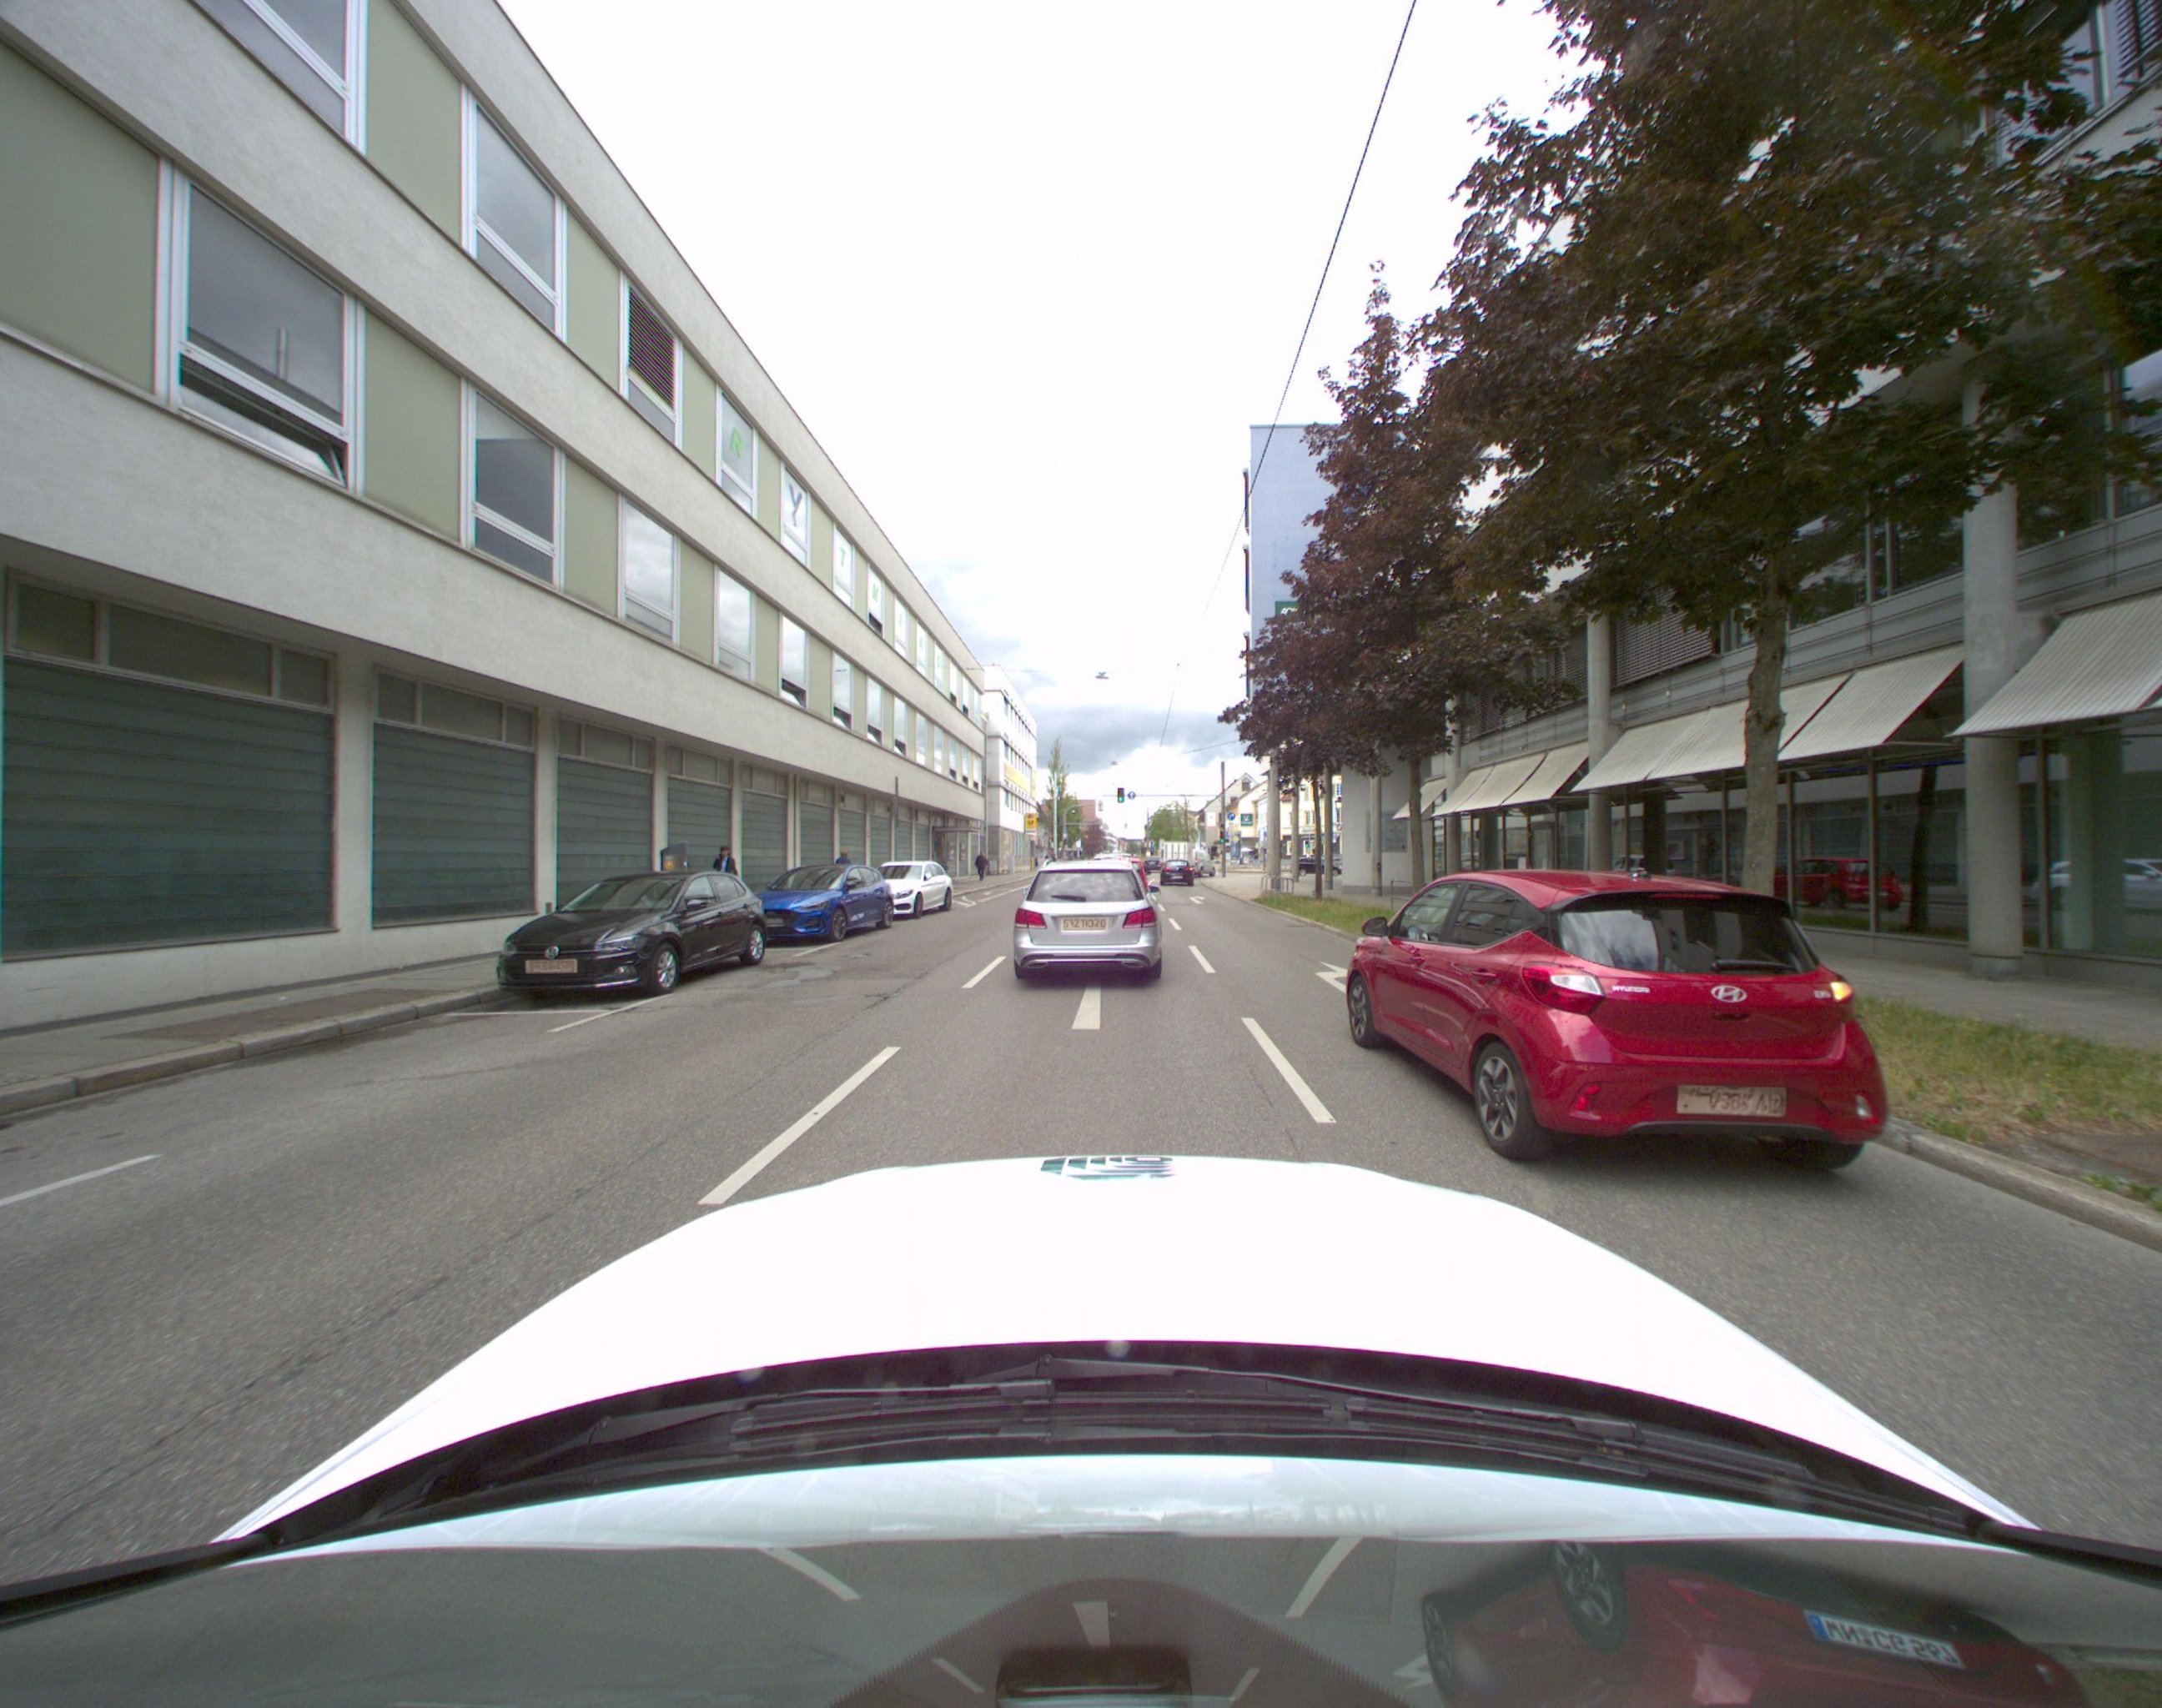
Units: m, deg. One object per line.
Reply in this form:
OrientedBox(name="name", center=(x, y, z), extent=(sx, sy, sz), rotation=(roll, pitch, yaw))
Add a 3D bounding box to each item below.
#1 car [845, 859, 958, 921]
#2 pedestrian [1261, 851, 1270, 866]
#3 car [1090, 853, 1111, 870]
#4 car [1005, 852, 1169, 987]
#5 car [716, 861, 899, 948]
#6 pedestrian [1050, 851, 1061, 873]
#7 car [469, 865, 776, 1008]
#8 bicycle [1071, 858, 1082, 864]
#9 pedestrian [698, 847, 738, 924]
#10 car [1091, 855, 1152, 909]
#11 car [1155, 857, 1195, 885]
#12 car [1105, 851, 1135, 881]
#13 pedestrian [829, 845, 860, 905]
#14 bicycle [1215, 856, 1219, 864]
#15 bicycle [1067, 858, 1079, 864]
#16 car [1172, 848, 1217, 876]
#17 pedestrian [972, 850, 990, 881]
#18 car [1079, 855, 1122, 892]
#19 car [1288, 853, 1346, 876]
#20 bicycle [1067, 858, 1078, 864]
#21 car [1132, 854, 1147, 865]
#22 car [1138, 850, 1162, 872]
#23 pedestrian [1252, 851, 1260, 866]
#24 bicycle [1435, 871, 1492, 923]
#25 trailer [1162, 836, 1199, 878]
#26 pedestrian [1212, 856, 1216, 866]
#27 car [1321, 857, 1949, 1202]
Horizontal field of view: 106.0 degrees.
OrientedBox(name="car", center=(-4.743, 0.897, 22.224), extent=(1.662, 1.434, 4.559), rotation=(-2, 0, 5))
OrientedBox(name="pedestrian", center=(20.810, 0.500, 91.778), extent=(0.789, 1.718, 0.645), rotation=(1, 0, -21))
OrientedBox(name="car", center=(1.955, 0.727, 80.689), extent=(1.768, 1.632, 4.773), rotation=(-1, 0, 4))
OrientedBox(name="car", center=(0.115, 0.742, 11.249), extent=(1.839, 1.508, 4.172), rotation=(-1, 0, 1))
OrientedBox(name="car", center=(-5.260, 0.902, 16.331), extent=(1.806, 1.426, 4.271), rotation=(-2, 0, 6))
OrientedBox(name="pedestrian", center=(-2.029, 0.628, 64.265), extent=(0.643, 1.718, 0.785), rotation=(1, 0, 10))
OrientedBox(name="car", center=(-5.626, 0.907, 10.635), extent=(1.710, 1.425, 3.871), rotation=(-2, 0, 1))
OrientedBox(name="bicycle", center=(-0.888, 1.340, 147.526), extent=(1.935, 1.029, 0.529), rotation=(1, -1, -7))
OrientedBox(name="pedestrian", center=(-8.278, 0.716, 18.578), extent=(0.587, 1.718, 0.650), rotation=(-1, 0, 1))
OrientedBox(name="car", center=(1.258, 0.787, 25.027), extent=(1.727, 1.508, 4.003), rotation=(0, 0, 3))
OrientedBox(name="car", center=(4.971, 0.873, 43.584), extent=(1.728, 1.410, 4.001), rotation=(-1, 0, 1))
OrientedBox(name="car", center=(2.347, 0.703, 49.618), extent=(1.728, 1.759, 4.001), rotation=(-1, 0, 1))
OrientedBox(name="pedestrian", center=(-6.912, 0.610, 23.839), extent=(0.587, 1.718, 1.055), rotation=(-1, 0, 1))
OrientedBox(name="bicycle", center=(20.253, 0.888, 121.137), extent=(0.446, 1.107, 2.151), rotation=(0, 0, 4))
OrientedBox(name="bicycle", center=(-1.427, 1.317, 143.597), extent=(1.935, 1.029, 0.529), rotation=(1, -1, -7))
OrientedBox(name="car", center=(8.254, 0.585, 58.795), extent=(1.861, 1.945, 4.933), rotation=(2, 0, 23))
OrientedBox(name="pedestrian", center=(-5.741, 0.666, 47.019), extent=(0.858, 1.718, 1.032), rotation=(1, 0, 1))
OrientedBox(name="car", center=(0.818, 0.789, 35.011), extent=(1.728, 1.508, 4.001), rotation=(-1, 0, 1))
OrientedBox(name="car", center=(17.896, 0.781, 61.831), extent=(3.779, 1.670, 1.926), rotation=(-1, 0, -4))
OrientedBox(name="bicycle", center=(-1.524, 1.318, 144.263), extent=(1.935, 1.029, 0.529), rotation=(1, -1, -7))
OrientedBox(name="car", center=(7.606, 0.716, 106.235), extent=(1.728, 1.410, 4.001), rotation=(-1, 0, 1))
OrientedBox(name="car", center=(5.870, 0.573, 69.775), extent=(1.821, 1.785, 4.001), rotation=(0, 0, 2))
OrientedBox(name="pedestrian", center=(19.811, 0.499, 92.150), extent=(0.708, 1.718, 0.642), rotation=(0, 0, -38))
OrientedBox(name="bicycle", center=(8.591, 0.937, 18.353), extent=(0.359, 1.086, 2.028), rotation=(1, 0, 1))
OrientedBox(name="trailer", center=(6.674, 0.201, 54.356), extent=(1.864, 2.613, 4.339), rotation=(2, 0, 14))
OrientedBox(name="pedestrian", center=(20.639, 1.091, 126.270), extent=(0.576, 1.469, 0.650), rotation=(1, -1, -4))
OrientedBox(name="car", center=(3.036, 0.777, 5.602), extent=(1.692, 1.452, 4.002), rotation=(2, 0, 2))
